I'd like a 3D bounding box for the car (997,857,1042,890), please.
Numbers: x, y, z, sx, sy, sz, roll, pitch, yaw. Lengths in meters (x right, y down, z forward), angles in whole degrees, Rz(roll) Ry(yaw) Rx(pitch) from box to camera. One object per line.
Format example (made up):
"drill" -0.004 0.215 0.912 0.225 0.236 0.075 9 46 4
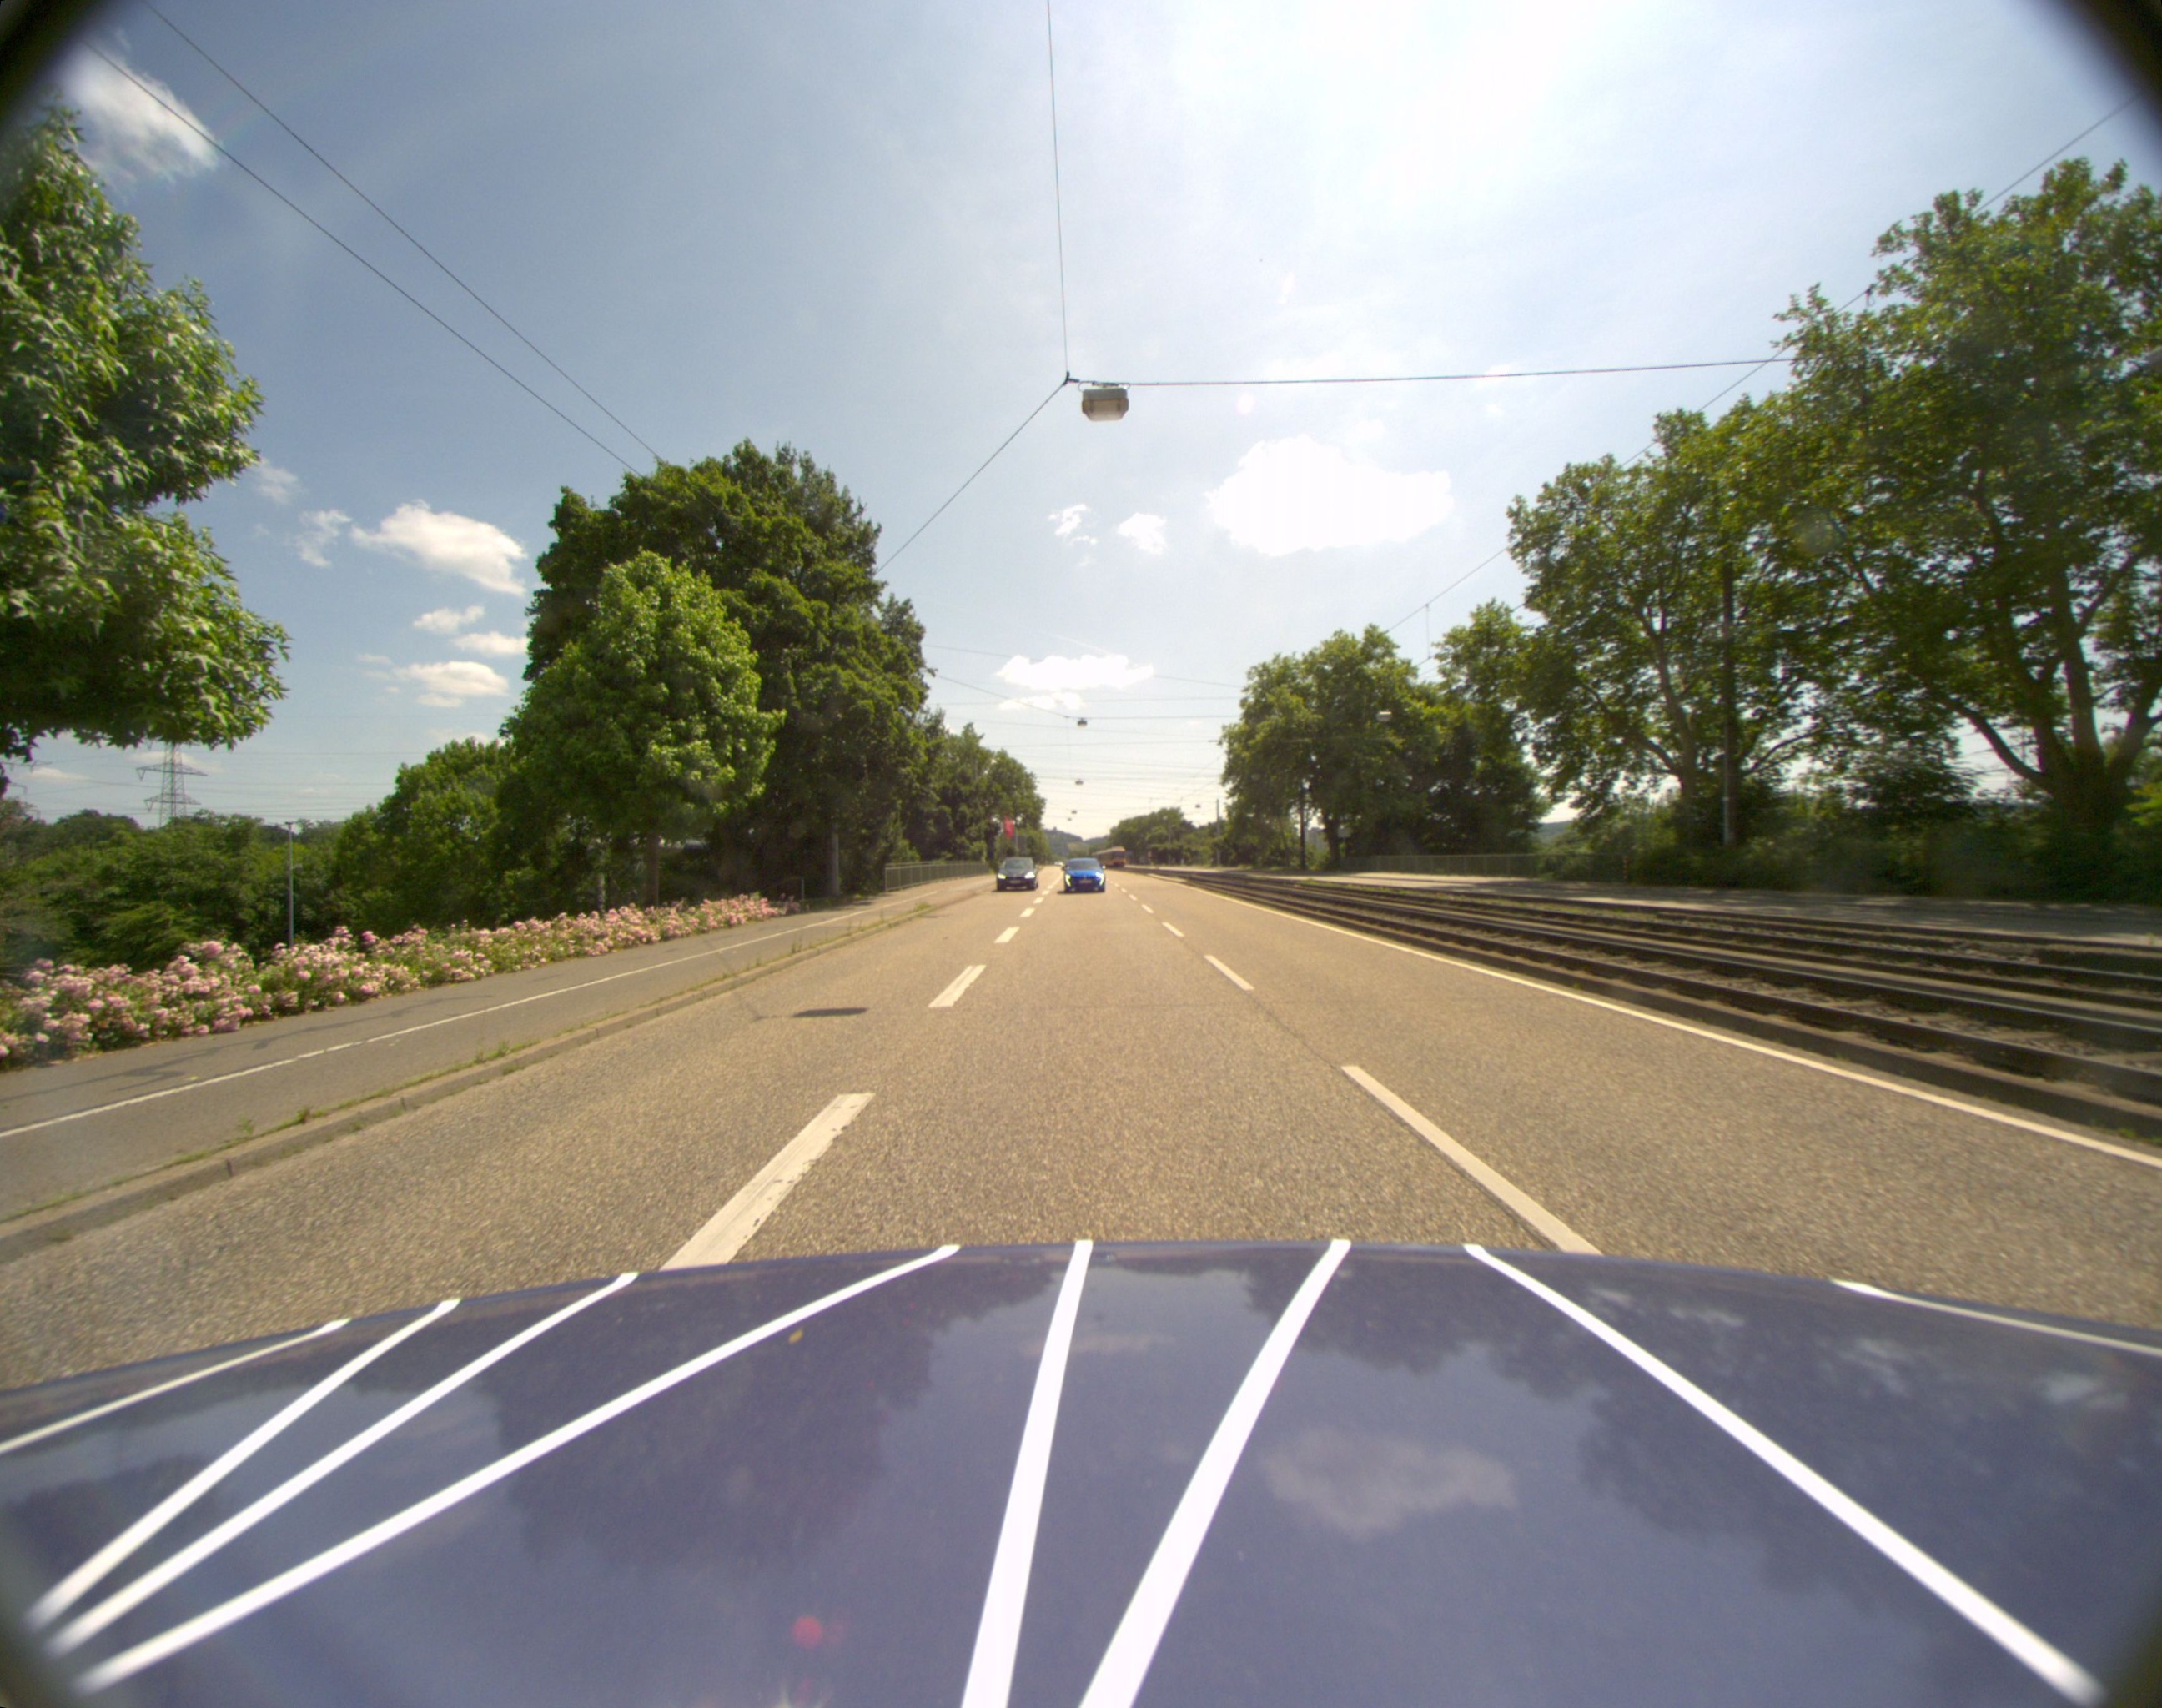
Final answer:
"car" -2.887 0.909 36.139 1.771 1.422 4.000 -2 -1 0

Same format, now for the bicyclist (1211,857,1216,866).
"bicyclist" 21.184 1.236 121.515 0.712 1.475 0.918 -1 0 -1

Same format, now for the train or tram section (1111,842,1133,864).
"train or tram section" 7.829 -0.175 148.508 3.046 4.116 13.979 0 0 -2

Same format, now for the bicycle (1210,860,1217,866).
"bicycle" 21.167 1.420 121.633 0.712 0.912 2.182 -1 0 -1

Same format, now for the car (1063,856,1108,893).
"car" 0.155 0.879 33.174 1.771 1.463 4.467 -2 -1 -1
